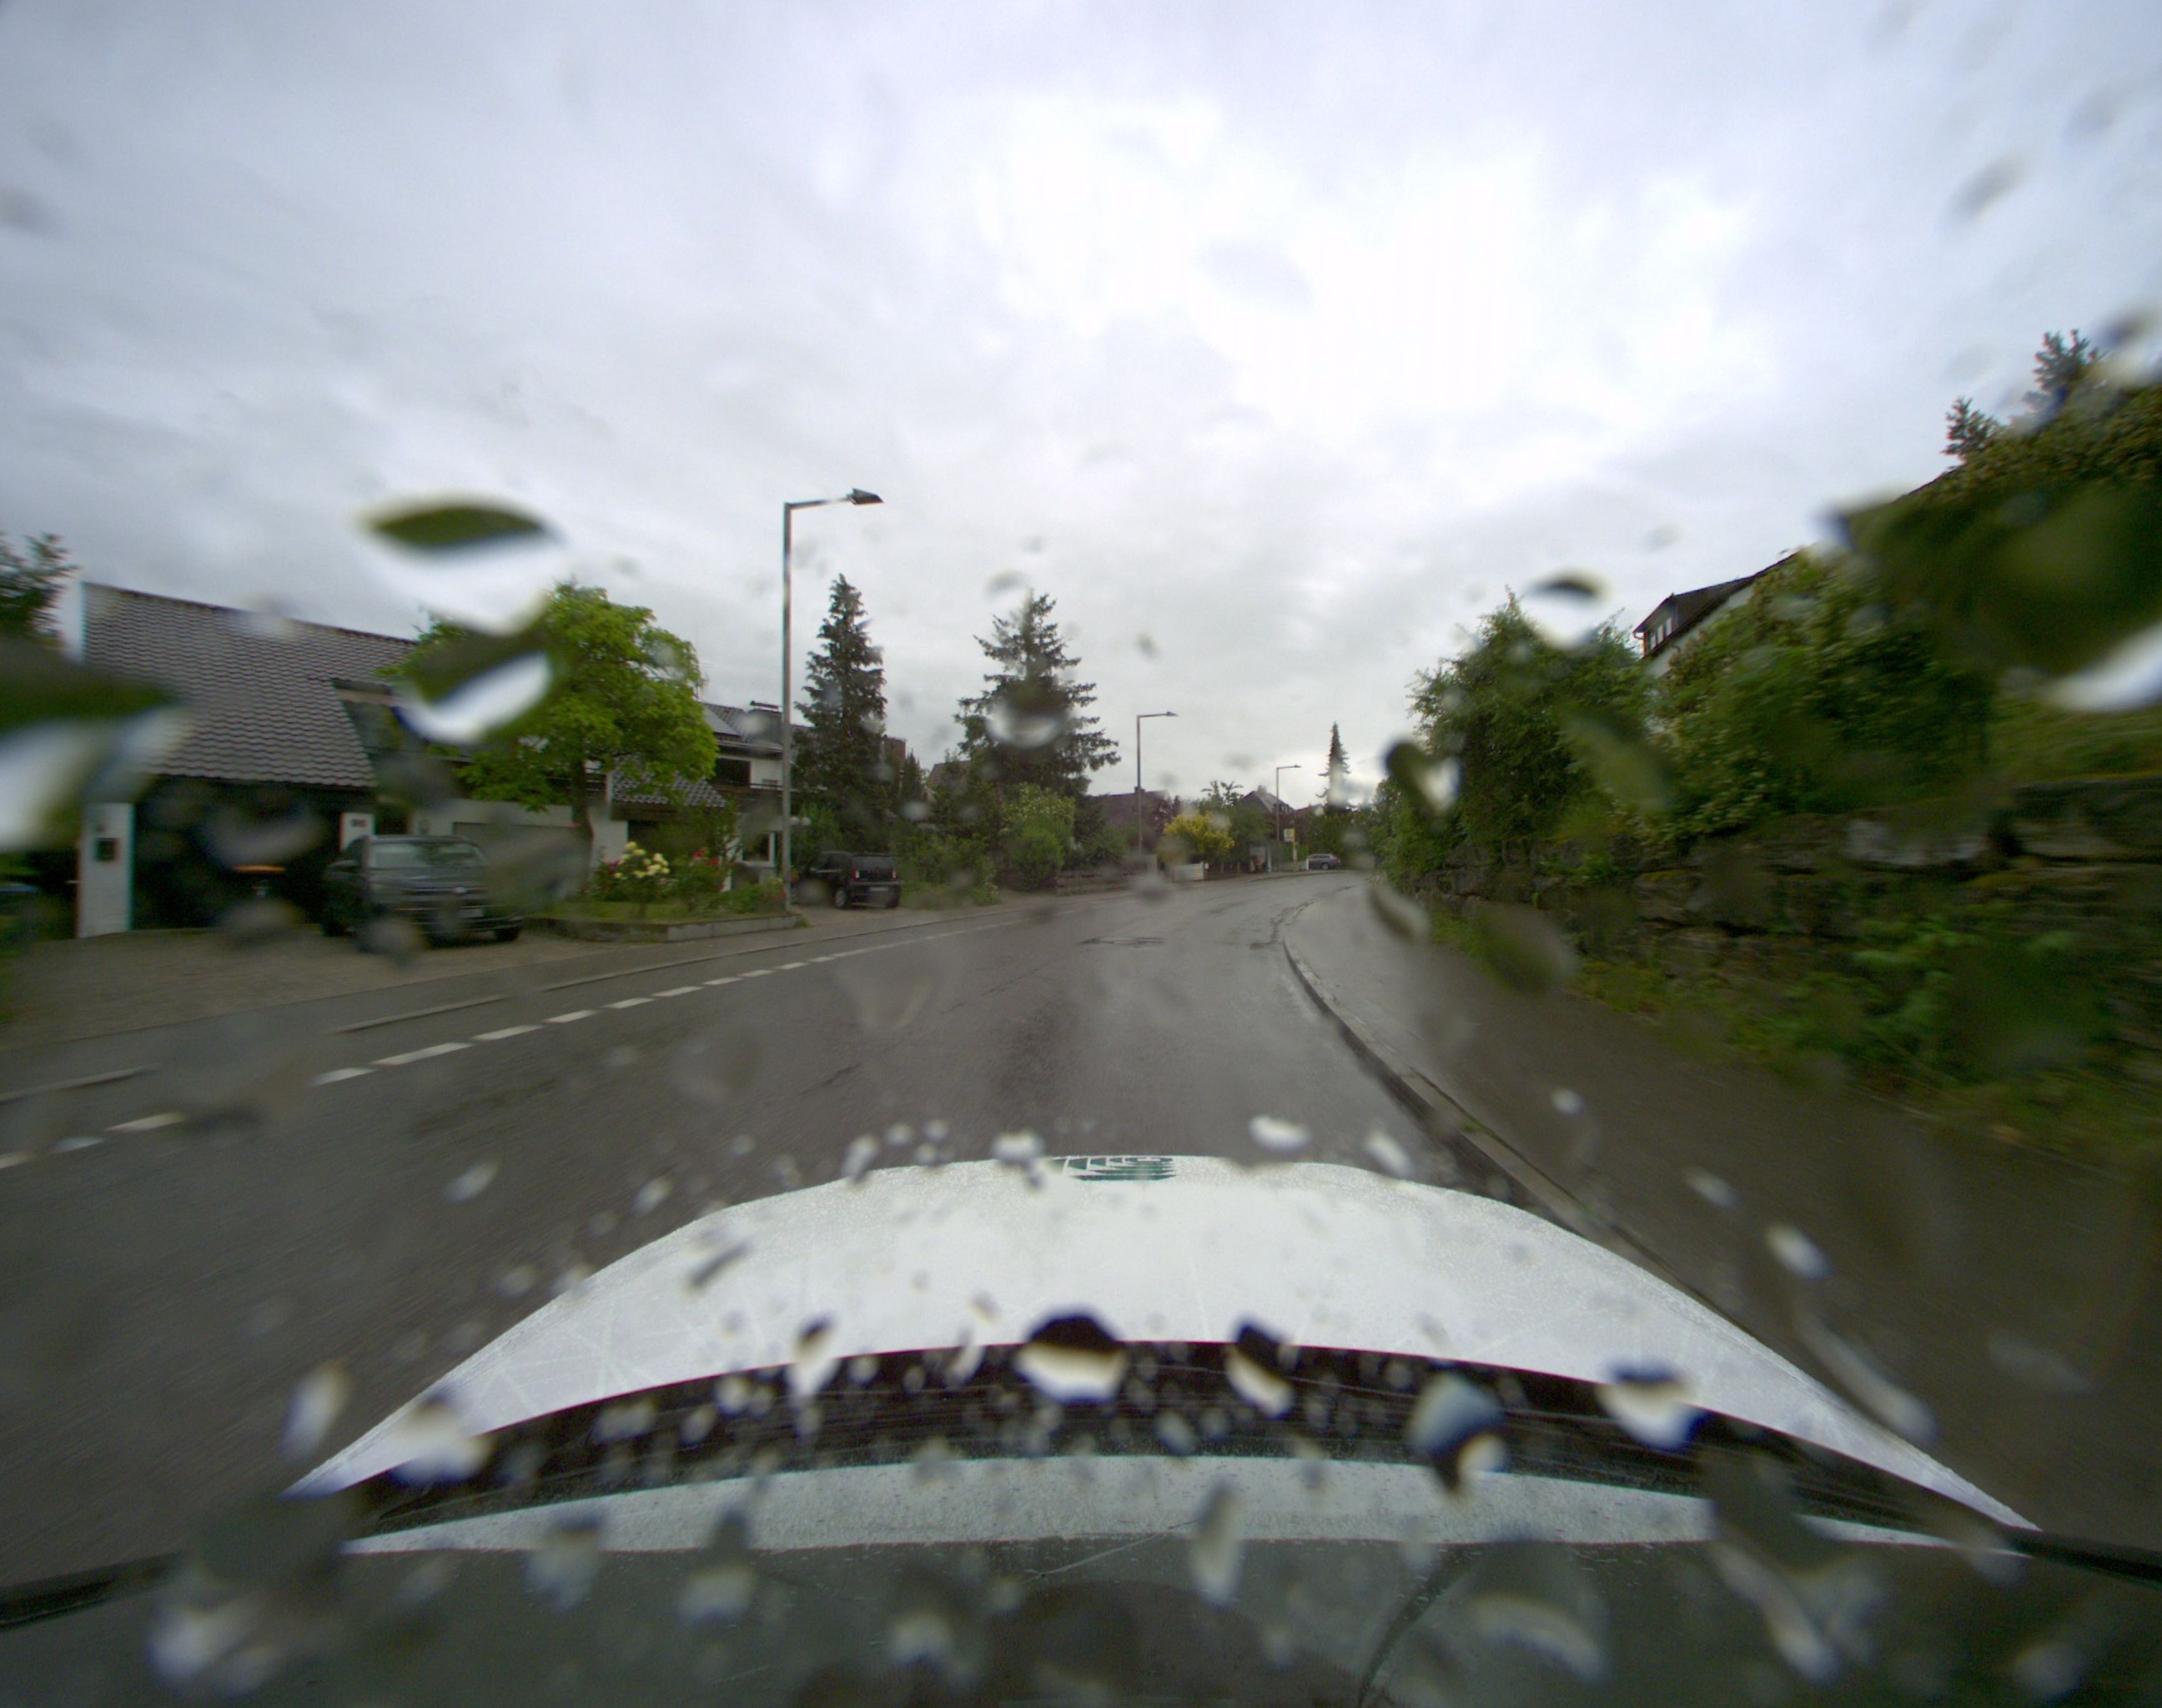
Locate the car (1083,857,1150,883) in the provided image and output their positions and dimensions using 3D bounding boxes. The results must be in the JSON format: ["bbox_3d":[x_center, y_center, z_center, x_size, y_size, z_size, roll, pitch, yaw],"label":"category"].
[{"bbox_3d":[2.325,1.015,53.448,3.948,1.620,2.013,0,-1,36],"label":"car"}]

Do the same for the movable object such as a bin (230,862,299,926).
[{"bbox_3d":[-13.928,0.661,13.891,0.711,1.036,0.737,0,0,37],"label":"movable object such as a bin"}]

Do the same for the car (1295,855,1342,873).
[{"bbox_3d":[21.751,0.923,74.552,3.808,1.572,1.797,-1,-1,30],"label":"car"}]

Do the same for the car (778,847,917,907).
[{"bbox_3d":[-6.321,0.588,21.811,1.951,1.389,3.952,3,-1,-42],"label":"car"}]

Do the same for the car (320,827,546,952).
[{"bbox_3d":[-10.152,0.424,12.674,3.949,1.631,2.026,1,1,41],"label":"car"}]
